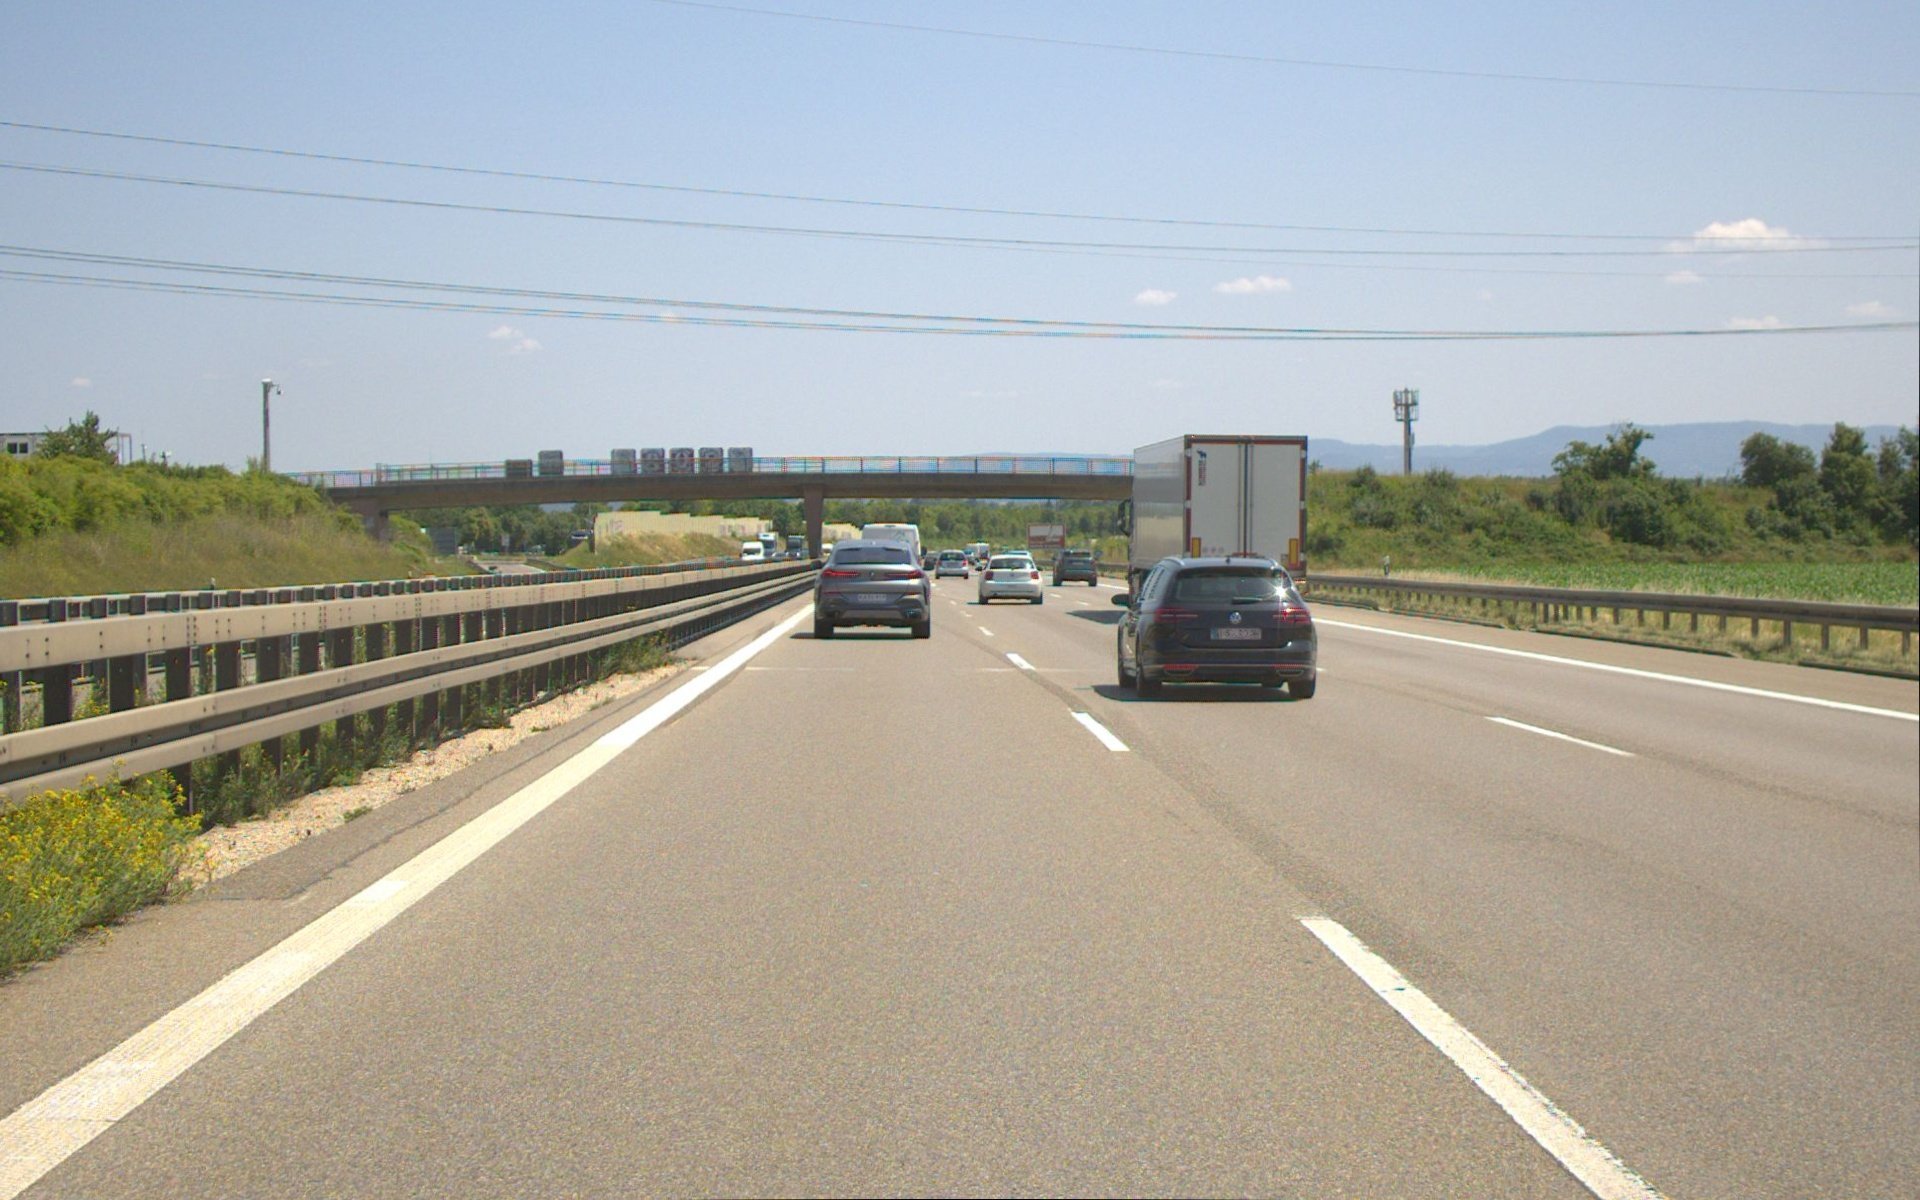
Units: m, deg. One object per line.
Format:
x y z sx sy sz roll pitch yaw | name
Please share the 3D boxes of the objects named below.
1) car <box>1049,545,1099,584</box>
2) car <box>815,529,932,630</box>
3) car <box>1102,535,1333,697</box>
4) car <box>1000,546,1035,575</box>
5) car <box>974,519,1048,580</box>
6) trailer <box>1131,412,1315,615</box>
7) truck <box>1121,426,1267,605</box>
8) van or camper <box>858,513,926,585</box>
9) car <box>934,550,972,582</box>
5.039 -1.566 151.973 1.993 1.677 4.000 1 1 -1 | car
-1.525 -0.375 59.368 1.851 1.658 3.735 1 1 -4 | car
2.628 0.117 36.159 1.933 1.569 4.935 1 1 -1 | car
3.470 -2.387 207.820 1.993 1.677 4.000 1 1 -1 | car
1.428 -1.443 98.568 1.993 1.677 4.000 1 1 -1 | car
5.807 -1.908 78.285 2.943 4.184 13.597 1 1 -1 | trailer
5.742 -2.058 85.578 2.979 4.213 7.688 1 1 -1 | truck
-2.156 -1.634 109.762 2.110 2.204 5.266 1 1 -1 | van or camper
-0.372 -1.865 186.211 1.993 1.677 4.000 1 1 -1 | car
